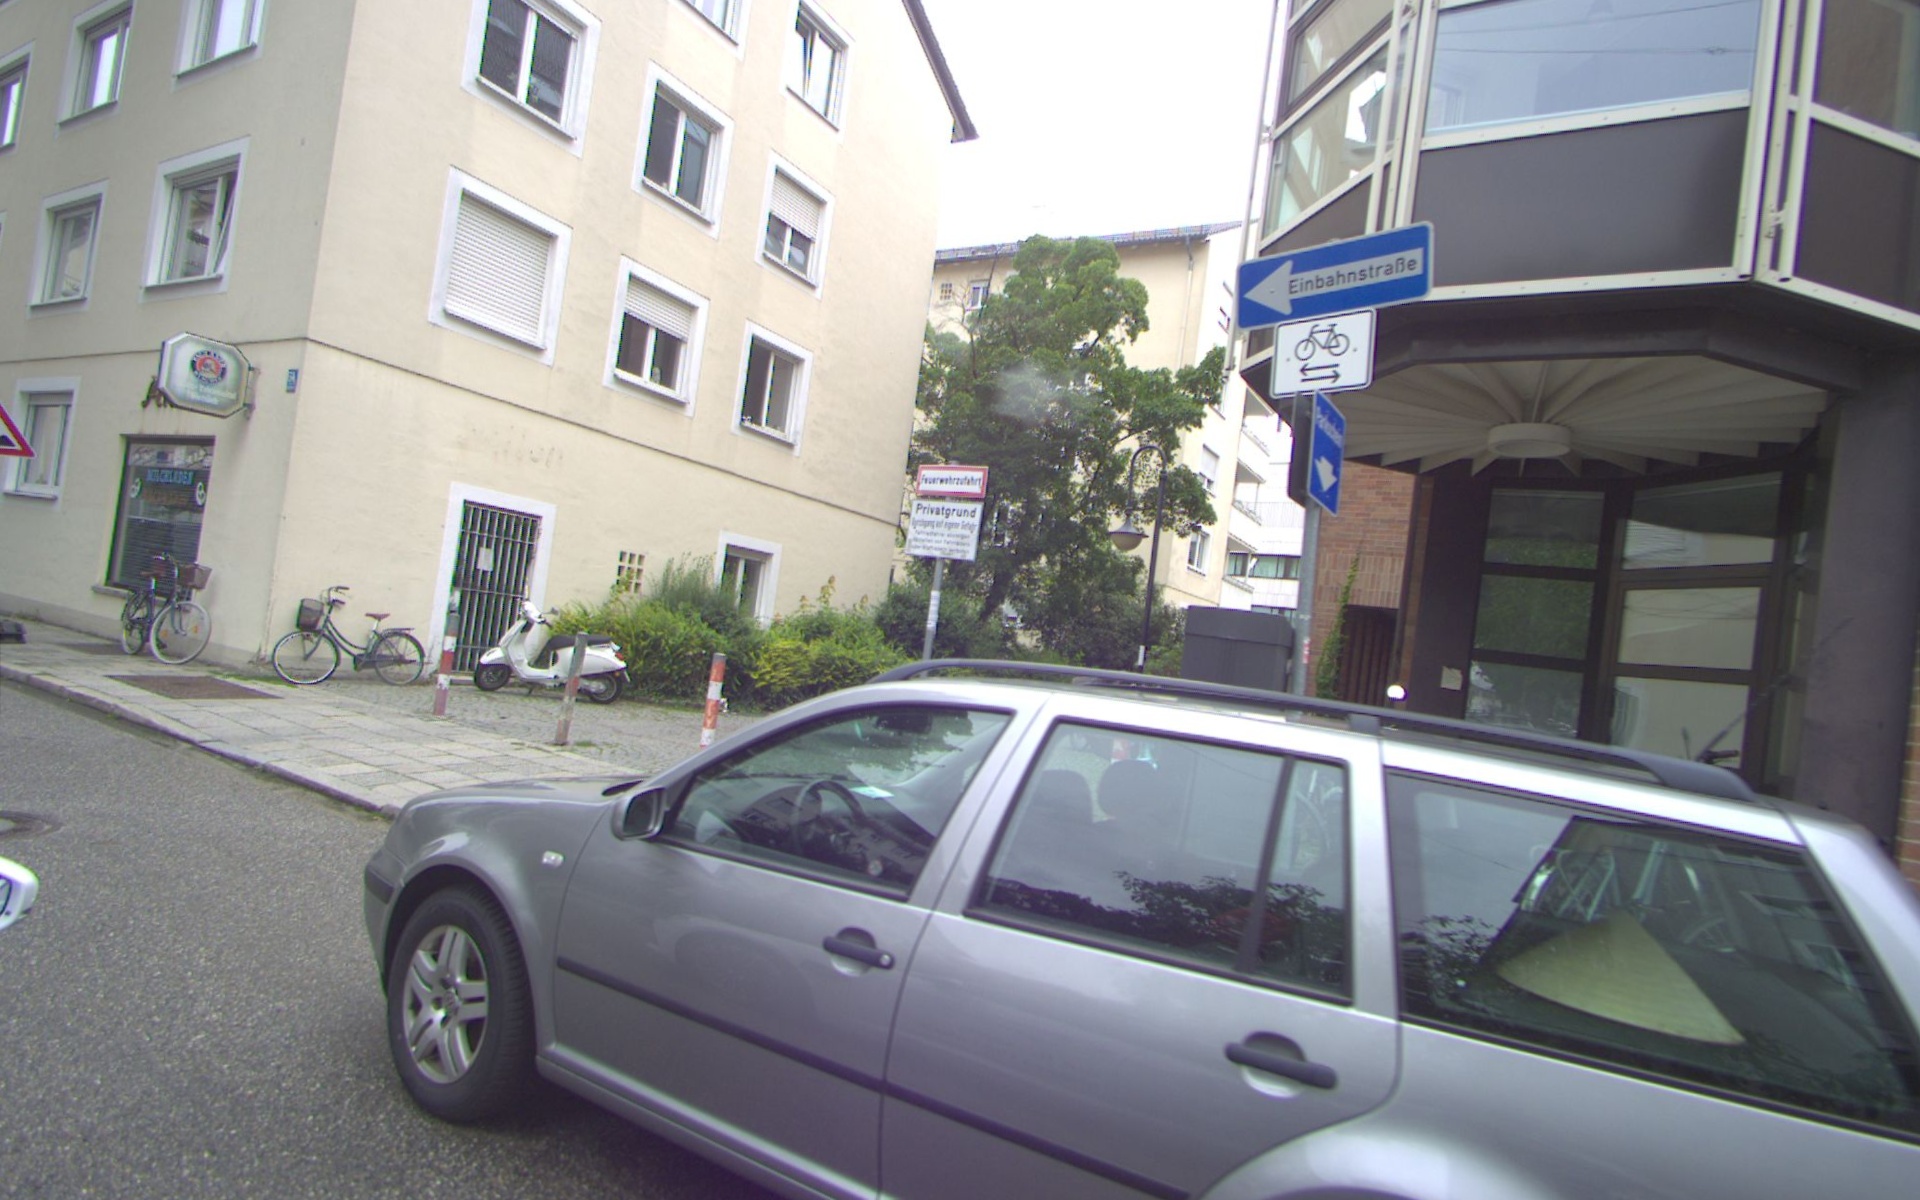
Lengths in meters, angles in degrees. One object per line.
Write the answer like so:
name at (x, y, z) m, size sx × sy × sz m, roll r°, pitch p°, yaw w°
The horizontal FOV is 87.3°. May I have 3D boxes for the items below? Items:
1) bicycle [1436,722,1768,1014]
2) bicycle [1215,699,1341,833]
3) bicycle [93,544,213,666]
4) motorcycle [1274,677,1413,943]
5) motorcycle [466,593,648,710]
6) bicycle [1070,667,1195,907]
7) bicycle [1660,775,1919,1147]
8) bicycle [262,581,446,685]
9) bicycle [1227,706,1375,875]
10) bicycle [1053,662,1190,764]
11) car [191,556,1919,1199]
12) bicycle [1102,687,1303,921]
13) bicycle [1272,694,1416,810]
bicycle at (3.390, 1.353, 5.256) m, size 1.857 × 1.243 × 0.589 m, roll 8°, pitch -2°, yaw -30°
bicycle at (3.038, 1.538, 9.499) m, size 0.436 × 1.085 × 1.881 m, roll 7°, pitch -2°, yaw 37°
bicycle at (-9.143, 0.036, 11.377) m, size 1.789 × 1.229 × 0.410 m, roll 5°, pitch 0°, yaw 32°
motorcycle at (2.509, 1.230, 6.454) m, size 0.542 × 1.401 × 1.764 m, roll 7°, pitch -1°, yaw 26°
motorcycle at (-4.916, 0.627, 12.357) m, size 1.842 × 1.135 × 0.621 m, roll 9°, pitch 0°, yaw -7°
bicycle at (1.117, 1.161, 6.850) m, size 0.576 × 1.338 × 1.808 m, roll 6°, pitch -2°, yaw 6°
bicycle at (3.934, 1.461, 3.948) m, size 0.739 × 1.231 × 1.758 m, roll 8°, pitch -2°, yaw -44°
bicycle at (-6.792, 0.403, 11.368) m, size 0.404 × 1.038 × 1.704 m, roll 5°, pitch -2°, yaw 31°
bicycle at (2.627, 1.397, 7.630) m, size 0.436 × 1.085 × 1.750 m, roll 7°, pitch -2°, yaw 37°
bicycle at (2.410, 1.680, 15.318) m, size 0.799 × 1.282 × 2.253 m, roll 9°, pitch -4°, yaw -25°
car at (-0.091, 0.893, 2.914) m, size 4.285 × 1.450 × 1.726 m, roll 6°, pitch -3°, yaw 30°
bicycle at (1.552, 1.171, 6.211) m, size 0.436 × 1.201 × 1.748 m, roll 7°, pitch 0°, yaw 37°
bicycle at (4.246, 1.675, 11.112) m, size 1.405 × 1.085 × 0.441 m, roll 8°, pitch -1°, yaw -17°
